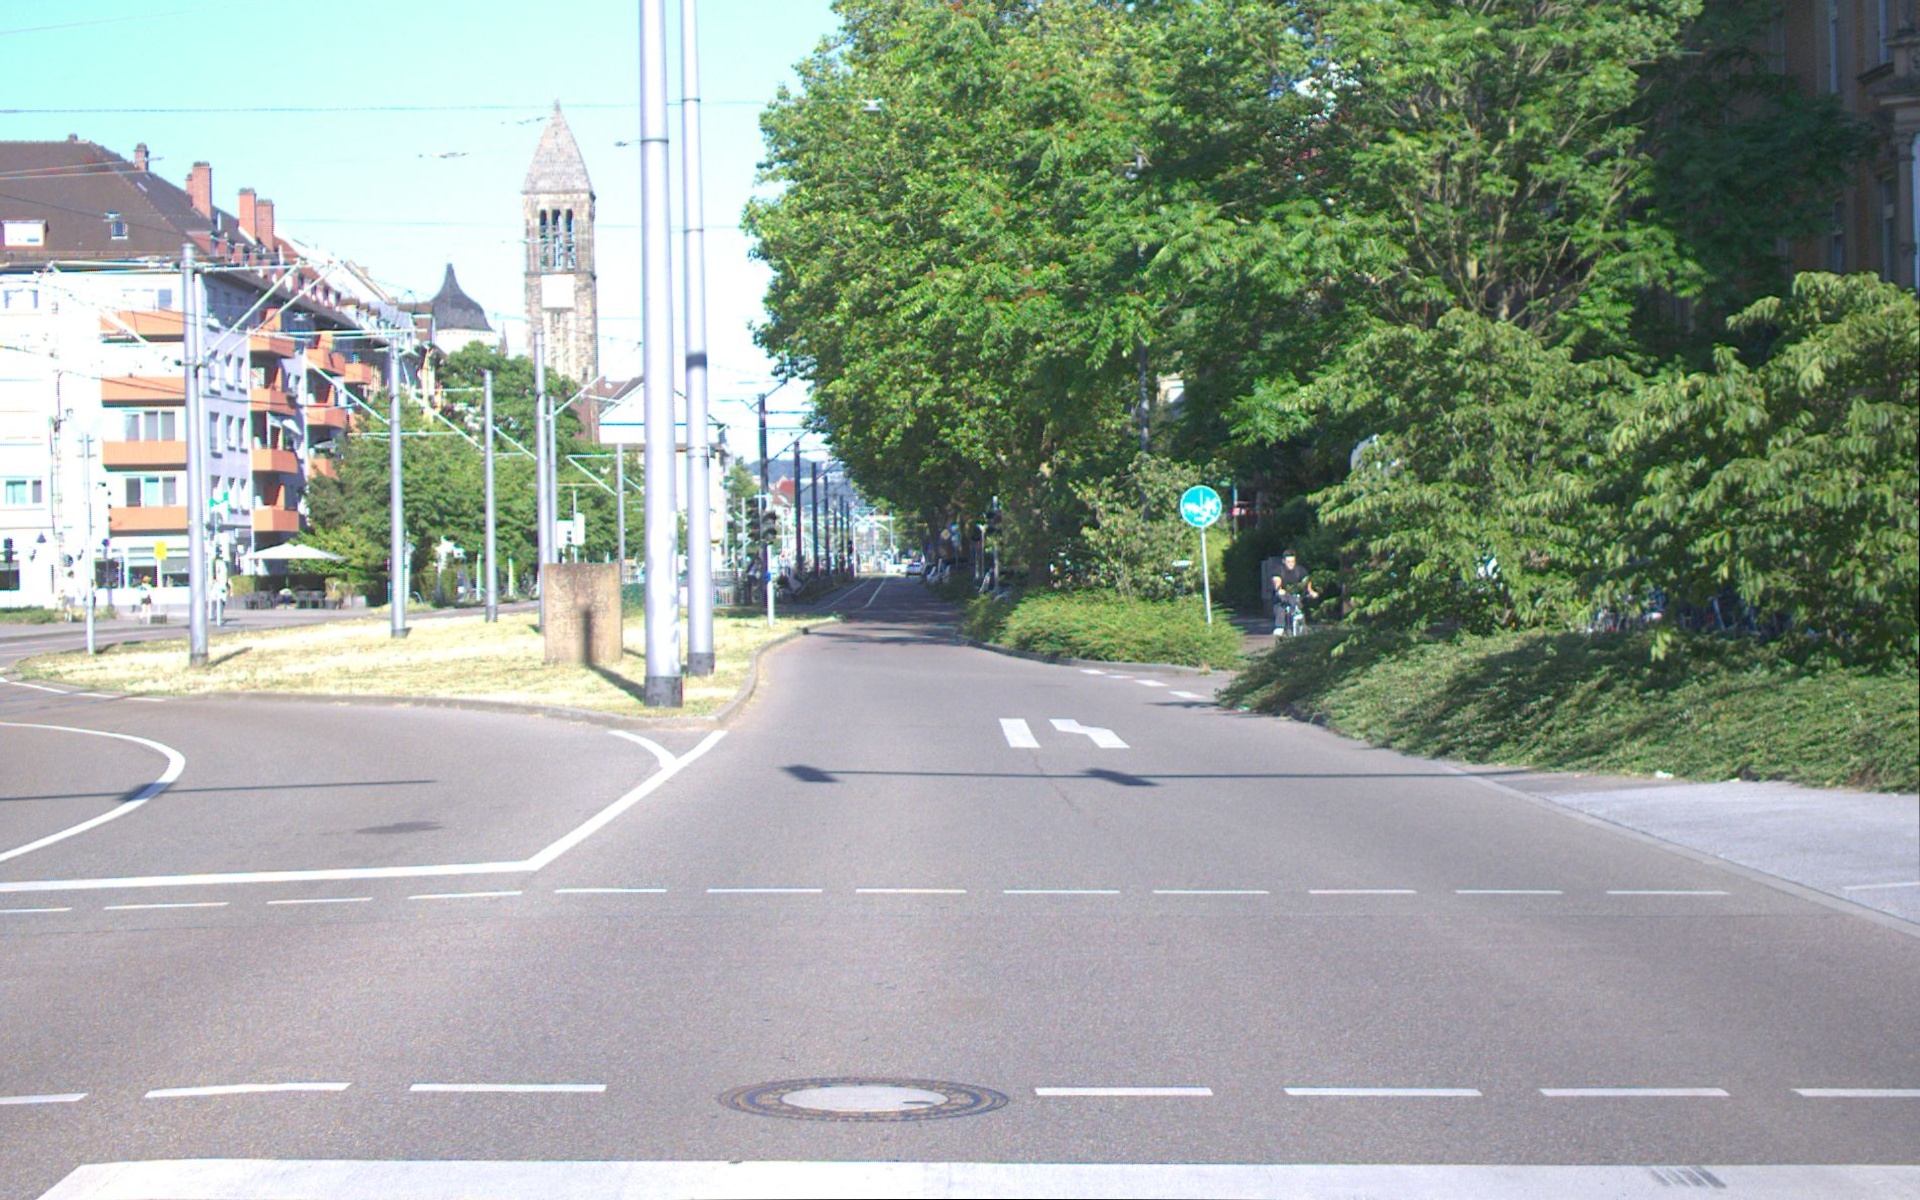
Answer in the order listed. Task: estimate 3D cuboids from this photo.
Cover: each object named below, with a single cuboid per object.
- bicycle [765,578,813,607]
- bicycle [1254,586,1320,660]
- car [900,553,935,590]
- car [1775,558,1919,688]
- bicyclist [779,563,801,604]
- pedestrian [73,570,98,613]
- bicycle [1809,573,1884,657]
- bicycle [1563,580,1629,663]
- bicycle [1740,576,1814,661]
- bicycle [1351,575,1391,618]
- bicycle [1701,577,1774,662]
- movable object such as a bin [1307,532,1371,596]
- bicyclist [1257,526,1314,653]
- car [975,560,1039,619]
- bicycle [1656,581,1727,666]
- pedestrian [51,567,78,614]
[{"bbox_3d":[-6.843,-0.314,137.526,1.814,1.044,0.573,-3,3,-9],"label":"bicycle"},{"bbox_3d":[4.787,0.338,50.400,0.641,1.044,2.360,-2,0,-2],"label":"bicycle"},{"bbox_3d":[-2.533,-1.696,205.656,1.993,2.100,4.000,1,0,0],"label":"car"},{"bbox_3d":[12.240,0.224,41.709,4.250,1.410,1.813,-2,3,-1],"label":"car"},{"bbox_3d":[-6.801,-0.664,137.513,0.749,1.552,0.573,-3,3,-9],"label":"bicyclist"},{"bbox_3d":[-31.032,-0.296,122.003,0.589,1.462,0.916,-2,3,0],"label":"pedestrian"},{"bbox_3d":[12.482,0.201,48.443,0.517,1.044,1.821,-2,3,-2],"label":"bicycle"},{"bbox_3d":[9.004,0.291,48.724,0.517,1.044,1.821,-2,3,-2],"label":"bicycle"},{"bbox_3d":[11.330,0.243,47.732,0.517,1.044,1.821,-2,3,-2],"label":"bicycle"},{"bbox_3d":[8.722,-0.075,72.996,0.768,0.851,0.375,-2,3,-4],"label":"bicycle"},{"bbox_3d":[10.780,0.265,47.703,0.517,1.044,1.821,-2,3,-2],"label":"bicycle"},{"bbox_3d":[8.520,-0.810,77.332,1.232,1.377,1.257,-2,1,-2],"label":"movable object such as a bin"},{"bbox_3d":[4.768,-0.147,50.370,0.641,1.808,1.052,-2,-1,-2],"label":"bicyclist"},{"bbox_3d":[1.286,-0.314,95.709,1.643,1.506,4.183,-2,1,0],"label":"car"},{"bbox_3d":[10.139,0.311,47.691,0.517,1.044,1.821,-2,3,-2],"label":"bicycle"},{"bbox_3d":[-31.778,-0.334,121.986,0.644,1.593,0.898,-2,3,0],"label":"pedestrian"}]
